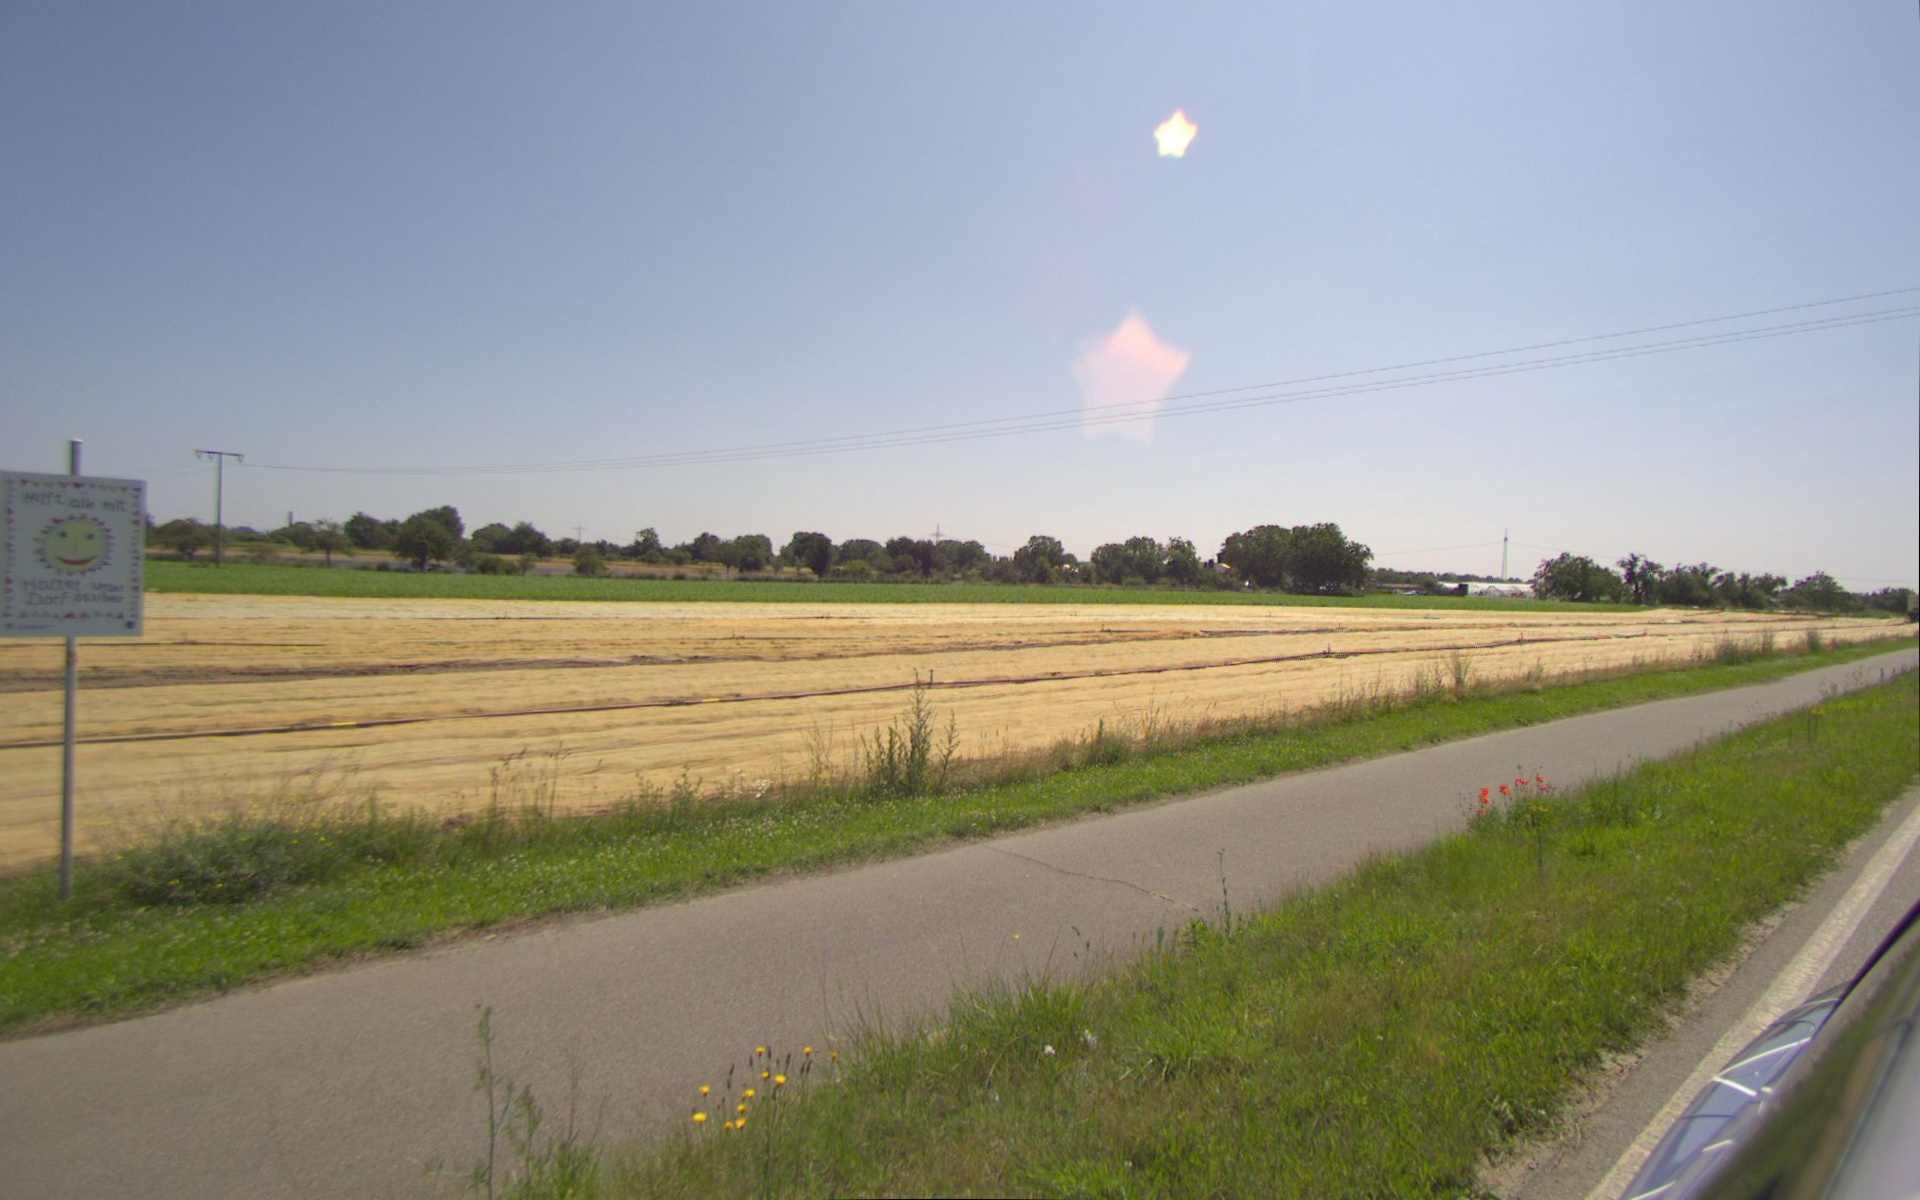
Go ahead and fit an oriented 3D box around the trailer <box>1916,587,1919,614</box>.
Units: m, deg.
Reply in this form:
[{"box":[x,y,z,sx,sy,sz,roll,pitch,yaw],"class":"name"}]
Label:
[{"box":[109.488,0.208,111.749,1.958,2.988,5.309,0,3,-21],"class":"trailer"}]
